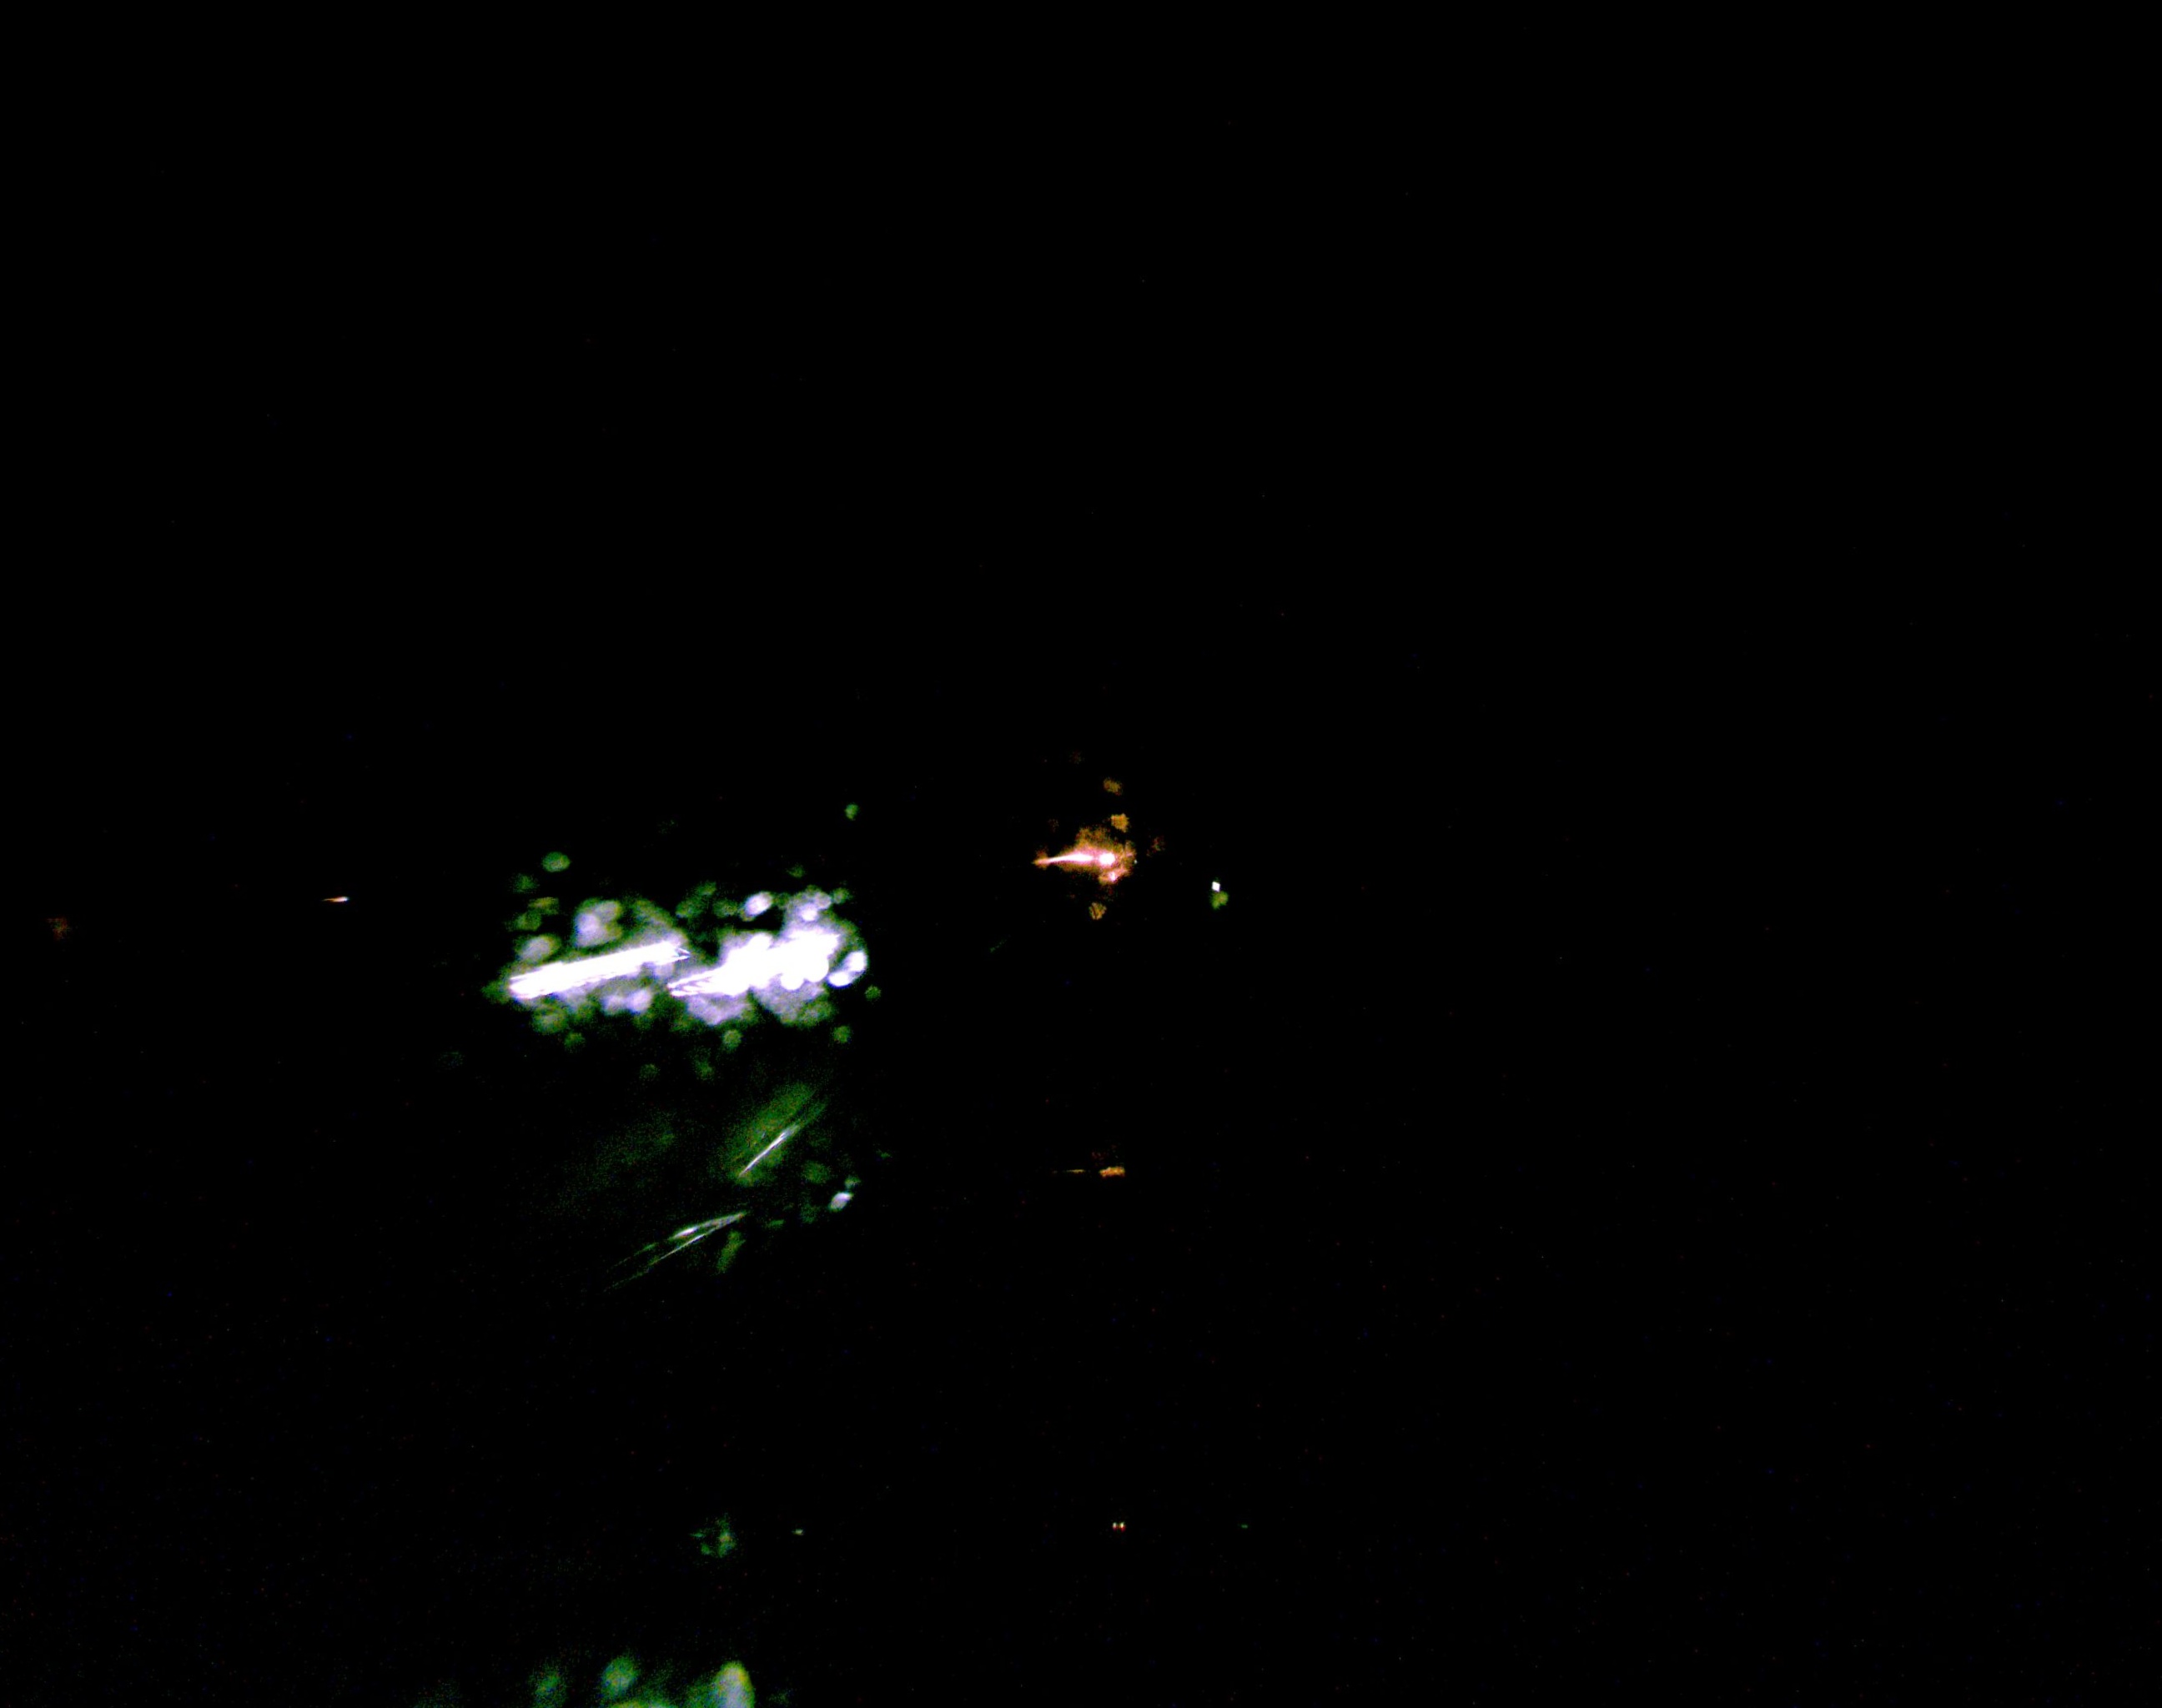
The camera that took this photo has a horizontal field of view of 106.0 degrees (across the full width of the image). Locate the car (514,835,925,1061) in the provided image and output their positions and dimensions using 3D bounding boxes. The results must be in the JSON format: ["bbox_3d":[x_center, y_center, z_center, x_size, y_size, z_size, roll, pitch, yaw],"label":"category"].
[{"bbox_3d":[-3.184,0.717,8.426,2.090,1.639,4.457,-2,0,2],"label":"car"}]

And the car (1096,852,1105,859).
[{"bbox_3d":[4.725,0.366,193.232,1.986,1.666,4.002,-2,0,2],"label":"car"}]
